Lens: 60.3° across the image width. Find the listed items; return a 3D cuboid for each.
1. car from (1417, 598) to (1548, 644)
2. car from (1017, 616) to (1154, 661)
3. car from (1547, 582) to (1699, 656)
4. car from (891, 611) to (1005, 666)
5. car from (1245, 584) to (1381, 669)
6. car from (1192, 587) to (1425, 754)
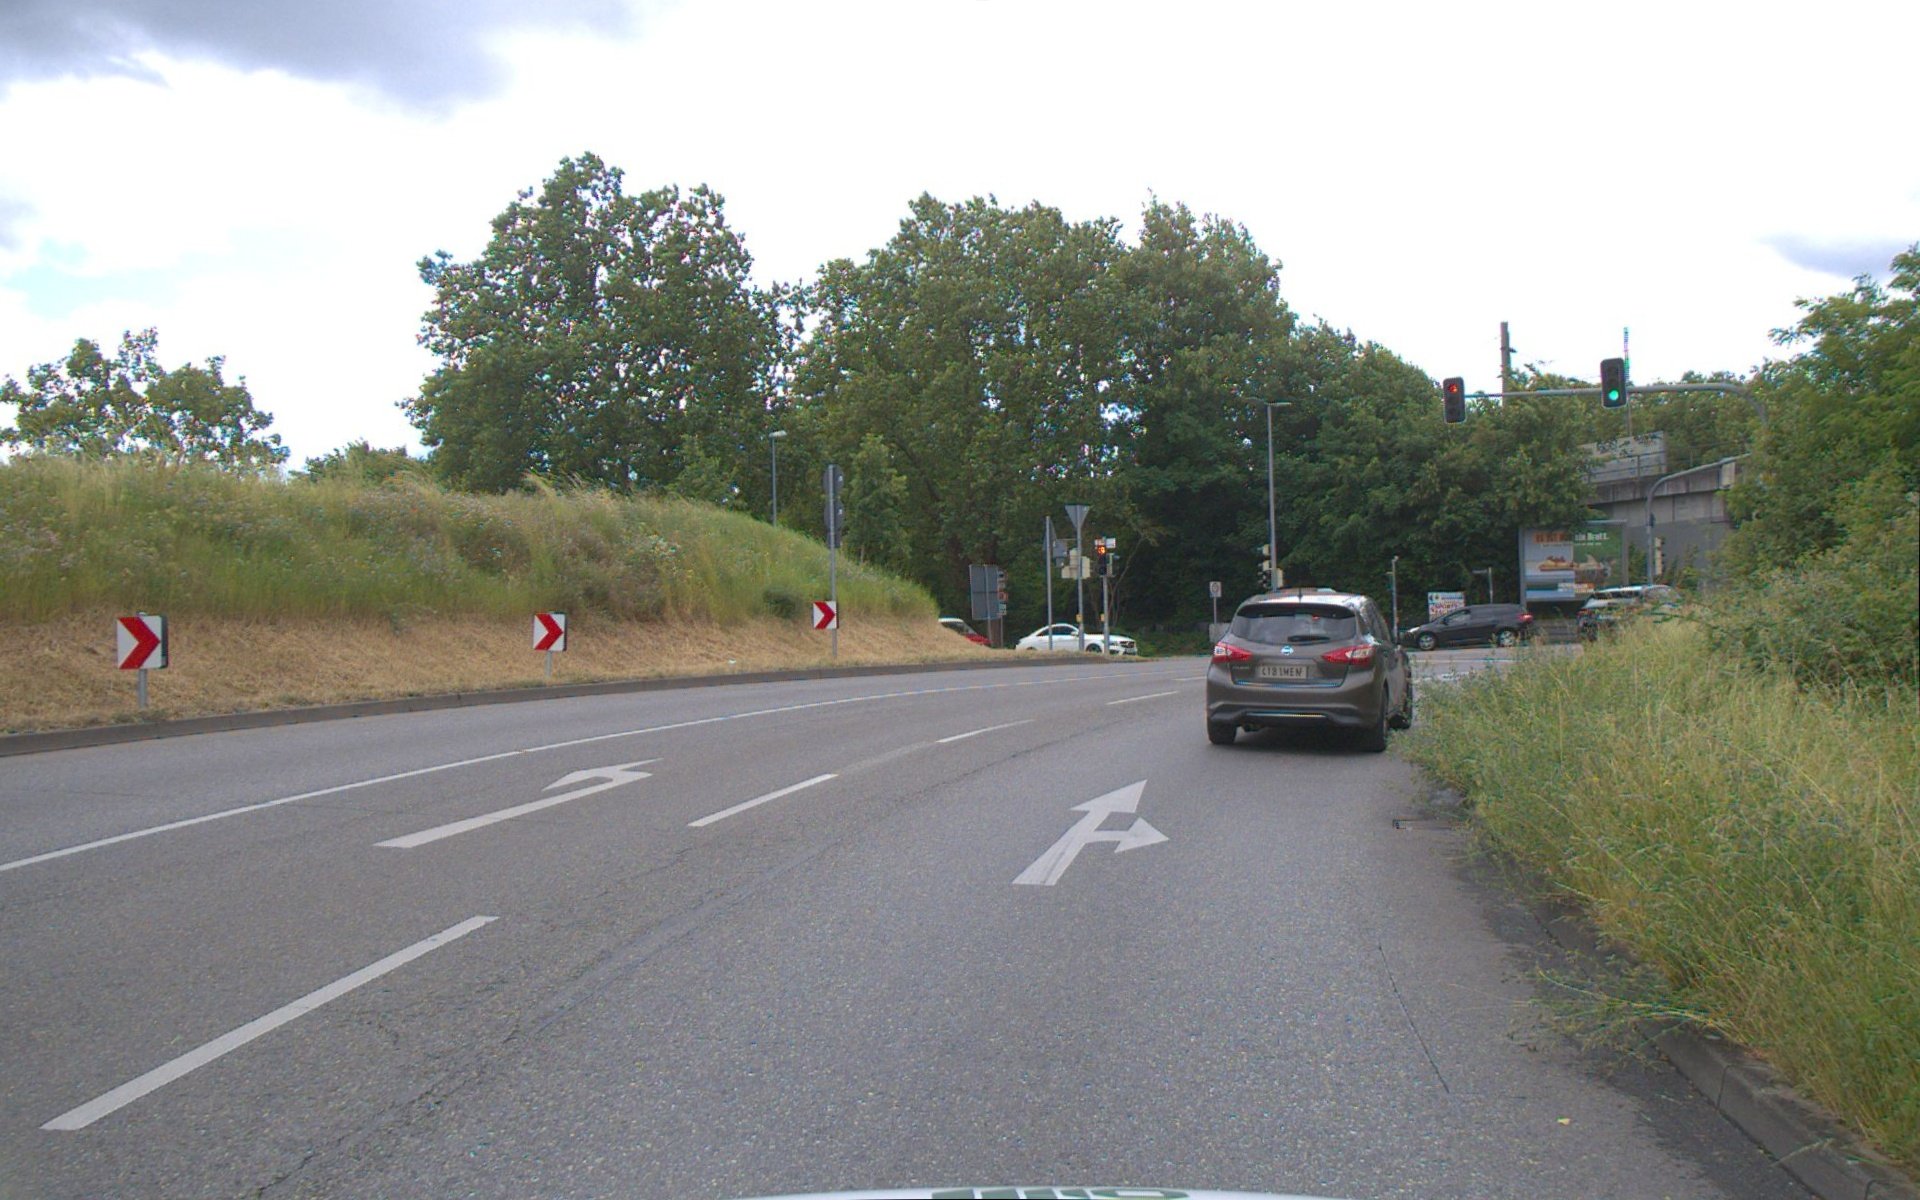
[{"bbox_3d":[17.425,0.716,55.318,3.940,1.477,1.856,0,-2,9],"label":"car"},{"bbox_3d":[4.254,1.342,56.499,4.338,1.362,1.989,-3,-4,40],"label":"car"},{"bbox_3d":[14.701,0.399,36.578,1.872,1.492,3.976,2,1,42],"label":"car"},{"bbox_3d":[-0.473,1.444,61.146,3.965,1.845,1.845,-4,-3,41],"label":"car"},{"bbox_3d":[7.064,0.509,32.961,1.549,1.585,3.005,1,0,36],"label":"car"},{"bbox_3d":[3.816,0.655,17.580,1.807,1.519,4.000,1,0,21],"label":"car"}]
